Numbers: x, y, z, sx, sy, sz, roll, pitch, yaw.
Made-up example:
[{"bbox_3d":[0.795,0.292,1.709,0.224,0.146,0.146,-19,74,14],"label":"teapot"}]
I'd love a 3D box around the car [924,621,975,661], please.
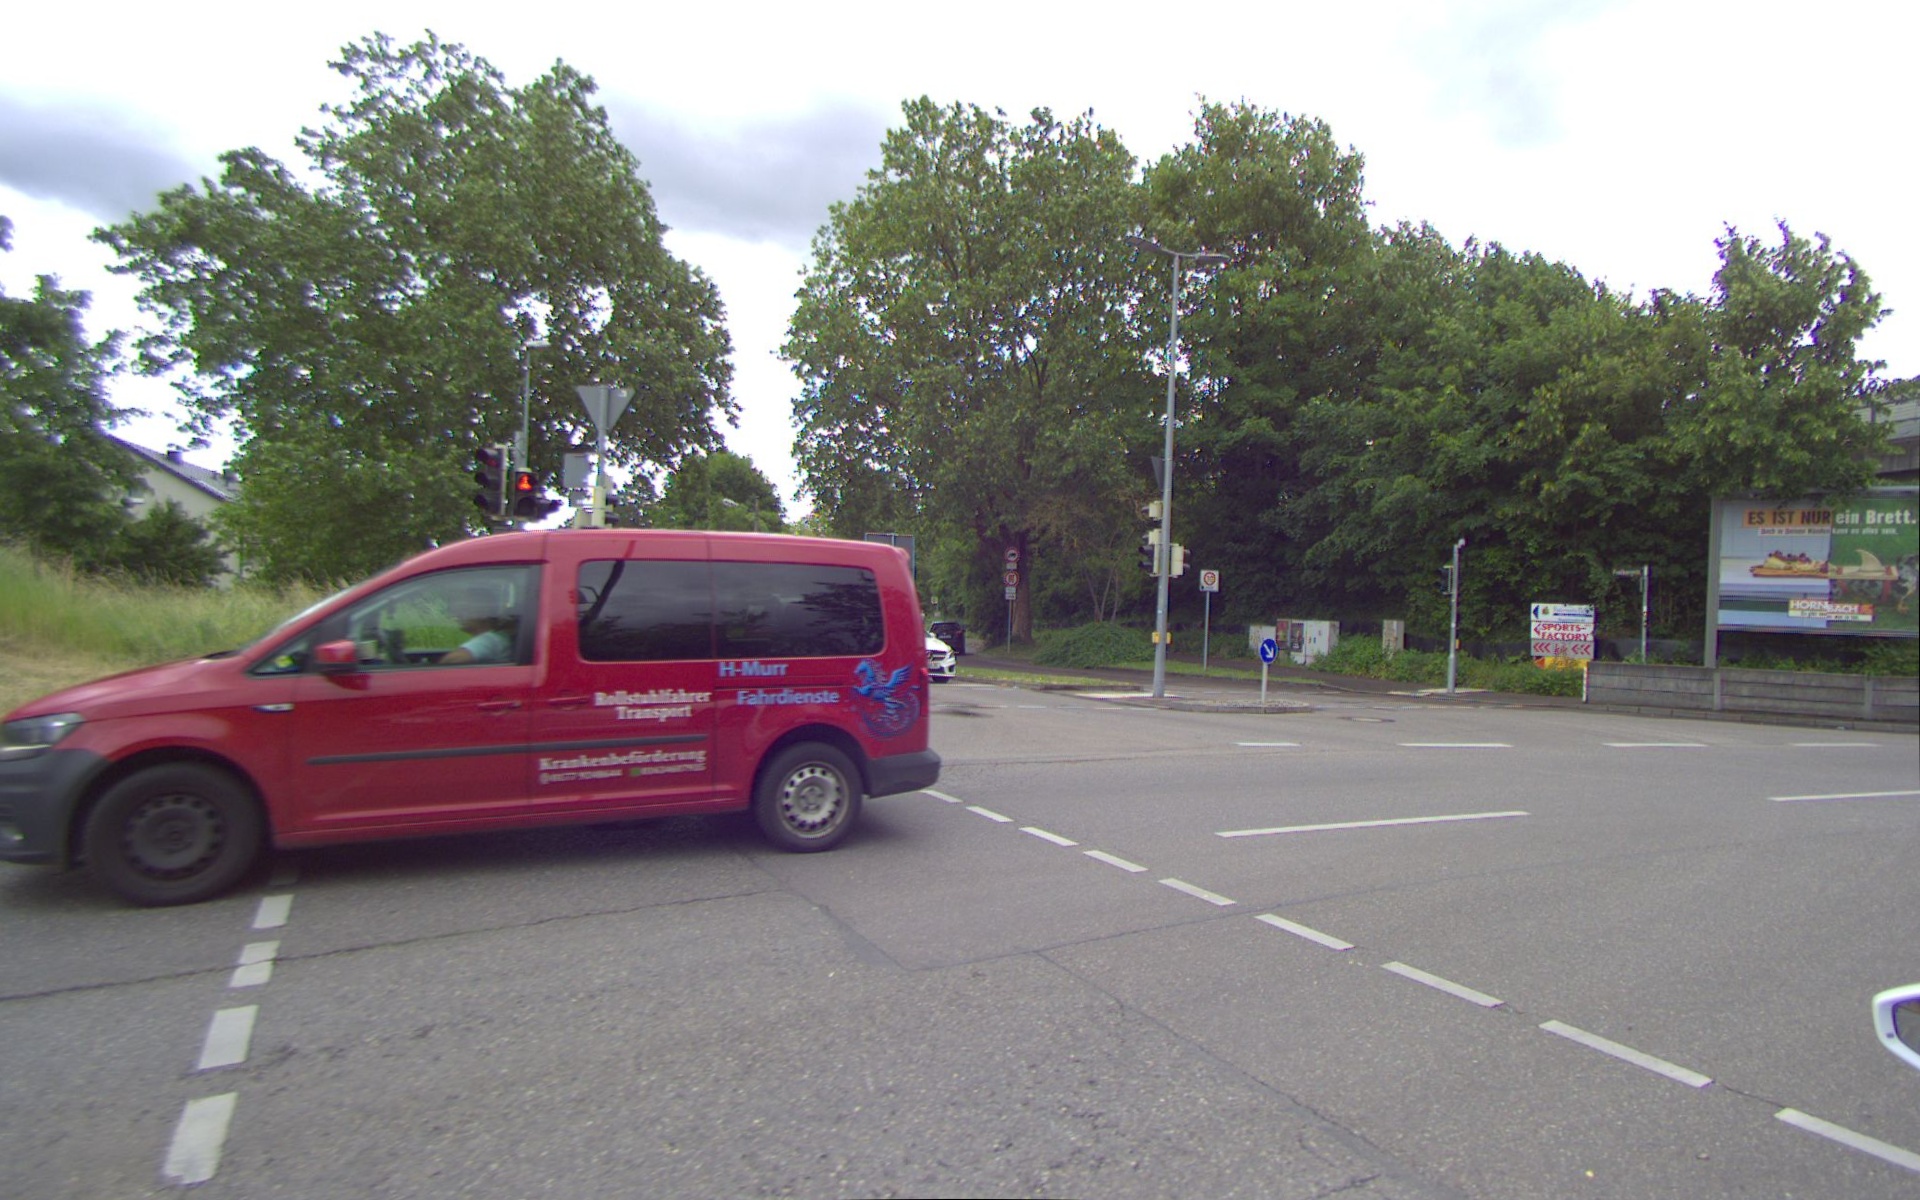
[{"bbox_3d":[-0.496,1.769,44.117,1.962,1.528,3.997,2,0,-4],"label":"car"}]

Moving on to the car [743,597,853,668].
[{"bbox_3d":[-4.665,0.892,28.462,1.833,1.837,4.008,2,-1,-29],"label":"car"}]

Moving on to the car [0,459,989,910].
[{"bbox_3d":[-2.293,0.399,5.857,4.663,1.850,1.682,2,0,-26],"label":"car"}]

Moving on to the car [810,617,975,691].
[{"bbox_3d":[-1.641,1.166,22.587,1.976,1.356,4.386,4,-2,-29],"label":"car"}]

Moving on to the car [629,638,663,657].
[{"bbox_3d":[-23.159,3.486,74.008,1.674,1.327,3.971,2,-3,-28],"label":"car"}]

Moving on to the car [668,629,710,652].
[{"bbox_3d":[-16.911,2.536,62.527,1.674,1.327,3.971,2,-3,-28],"label":"car"}]
